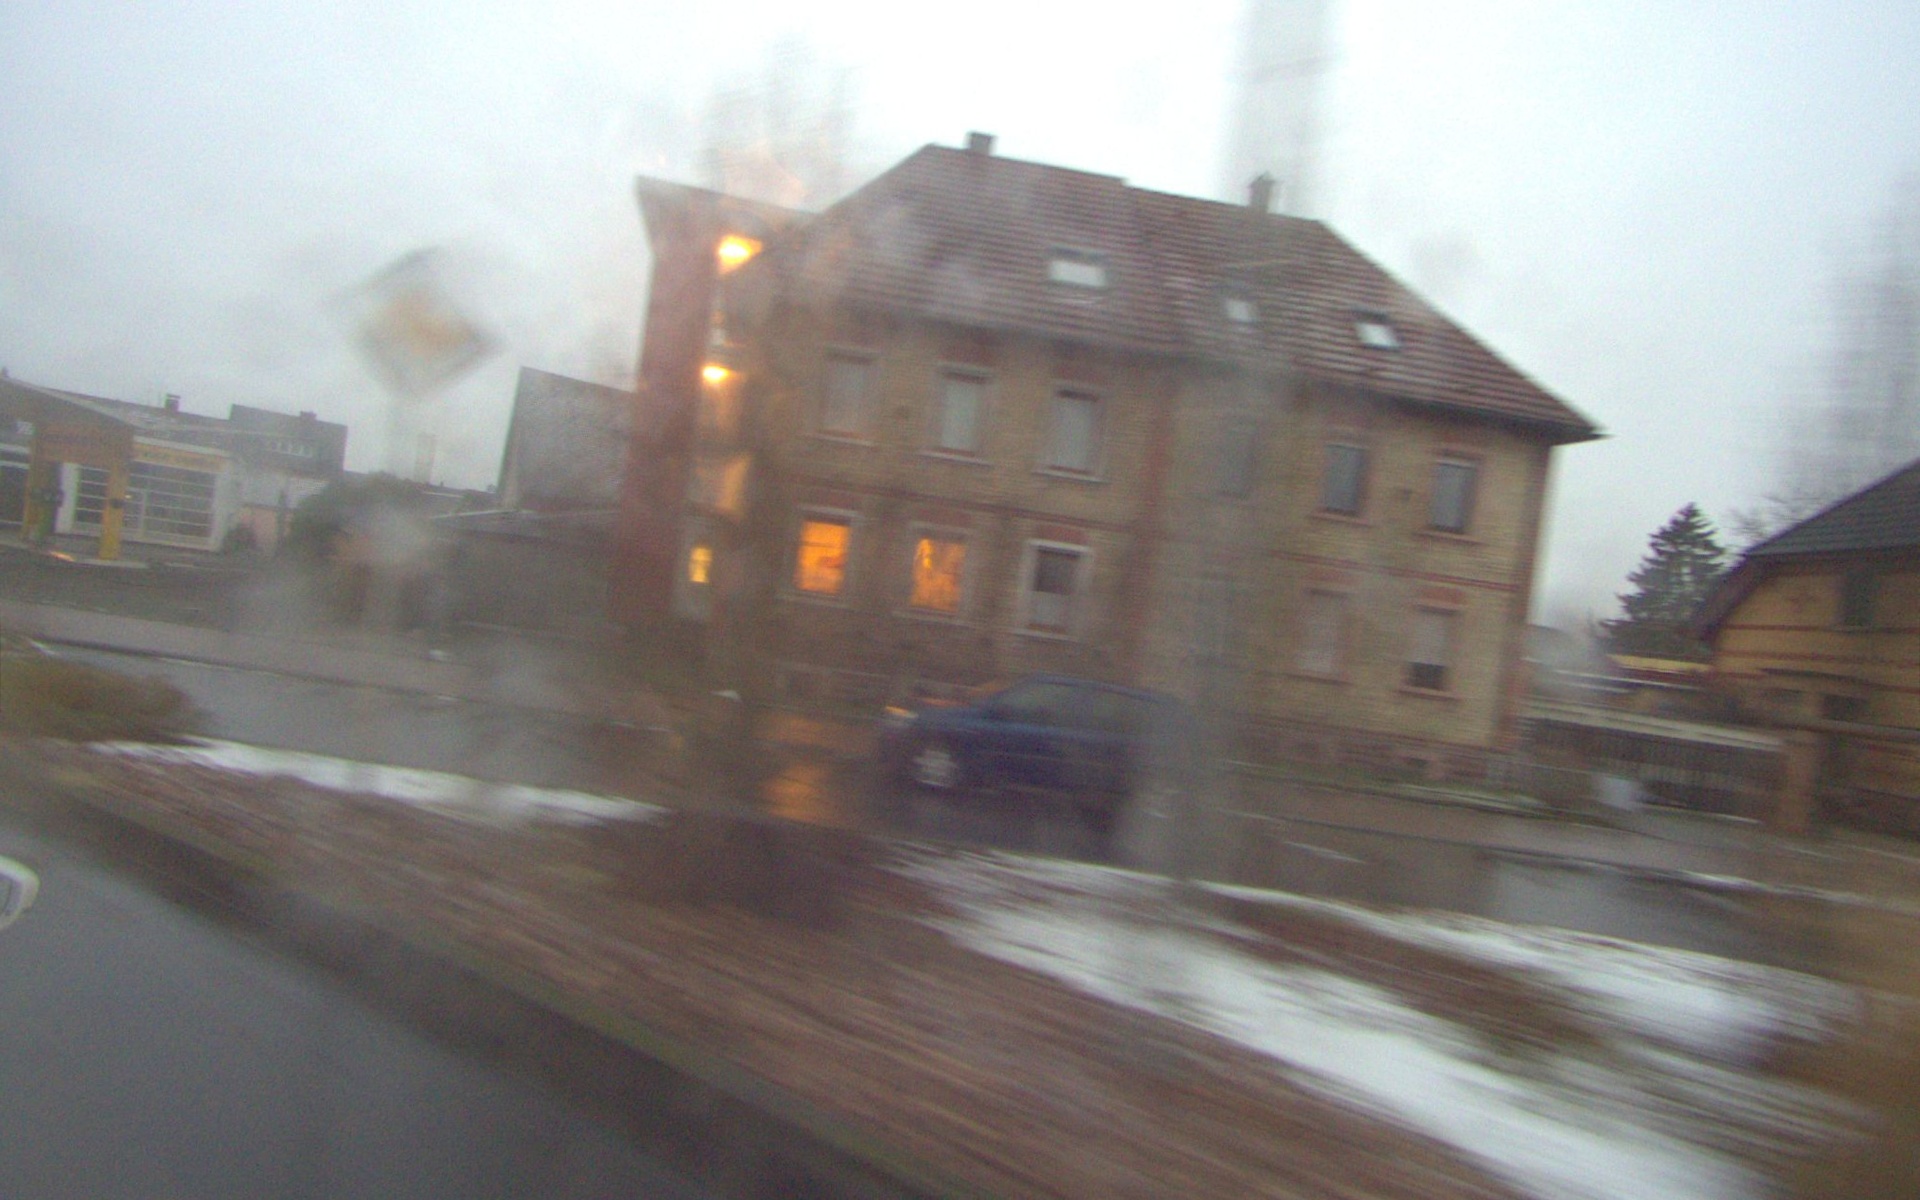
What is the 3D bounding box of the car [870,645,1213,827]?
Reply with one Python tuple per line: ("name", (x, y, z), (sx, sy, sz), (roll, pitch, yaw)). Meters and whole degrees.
("car", (0.853, 1.485, 11.337), (3.516, 1.399, 1.286), (9, -1, -3))
